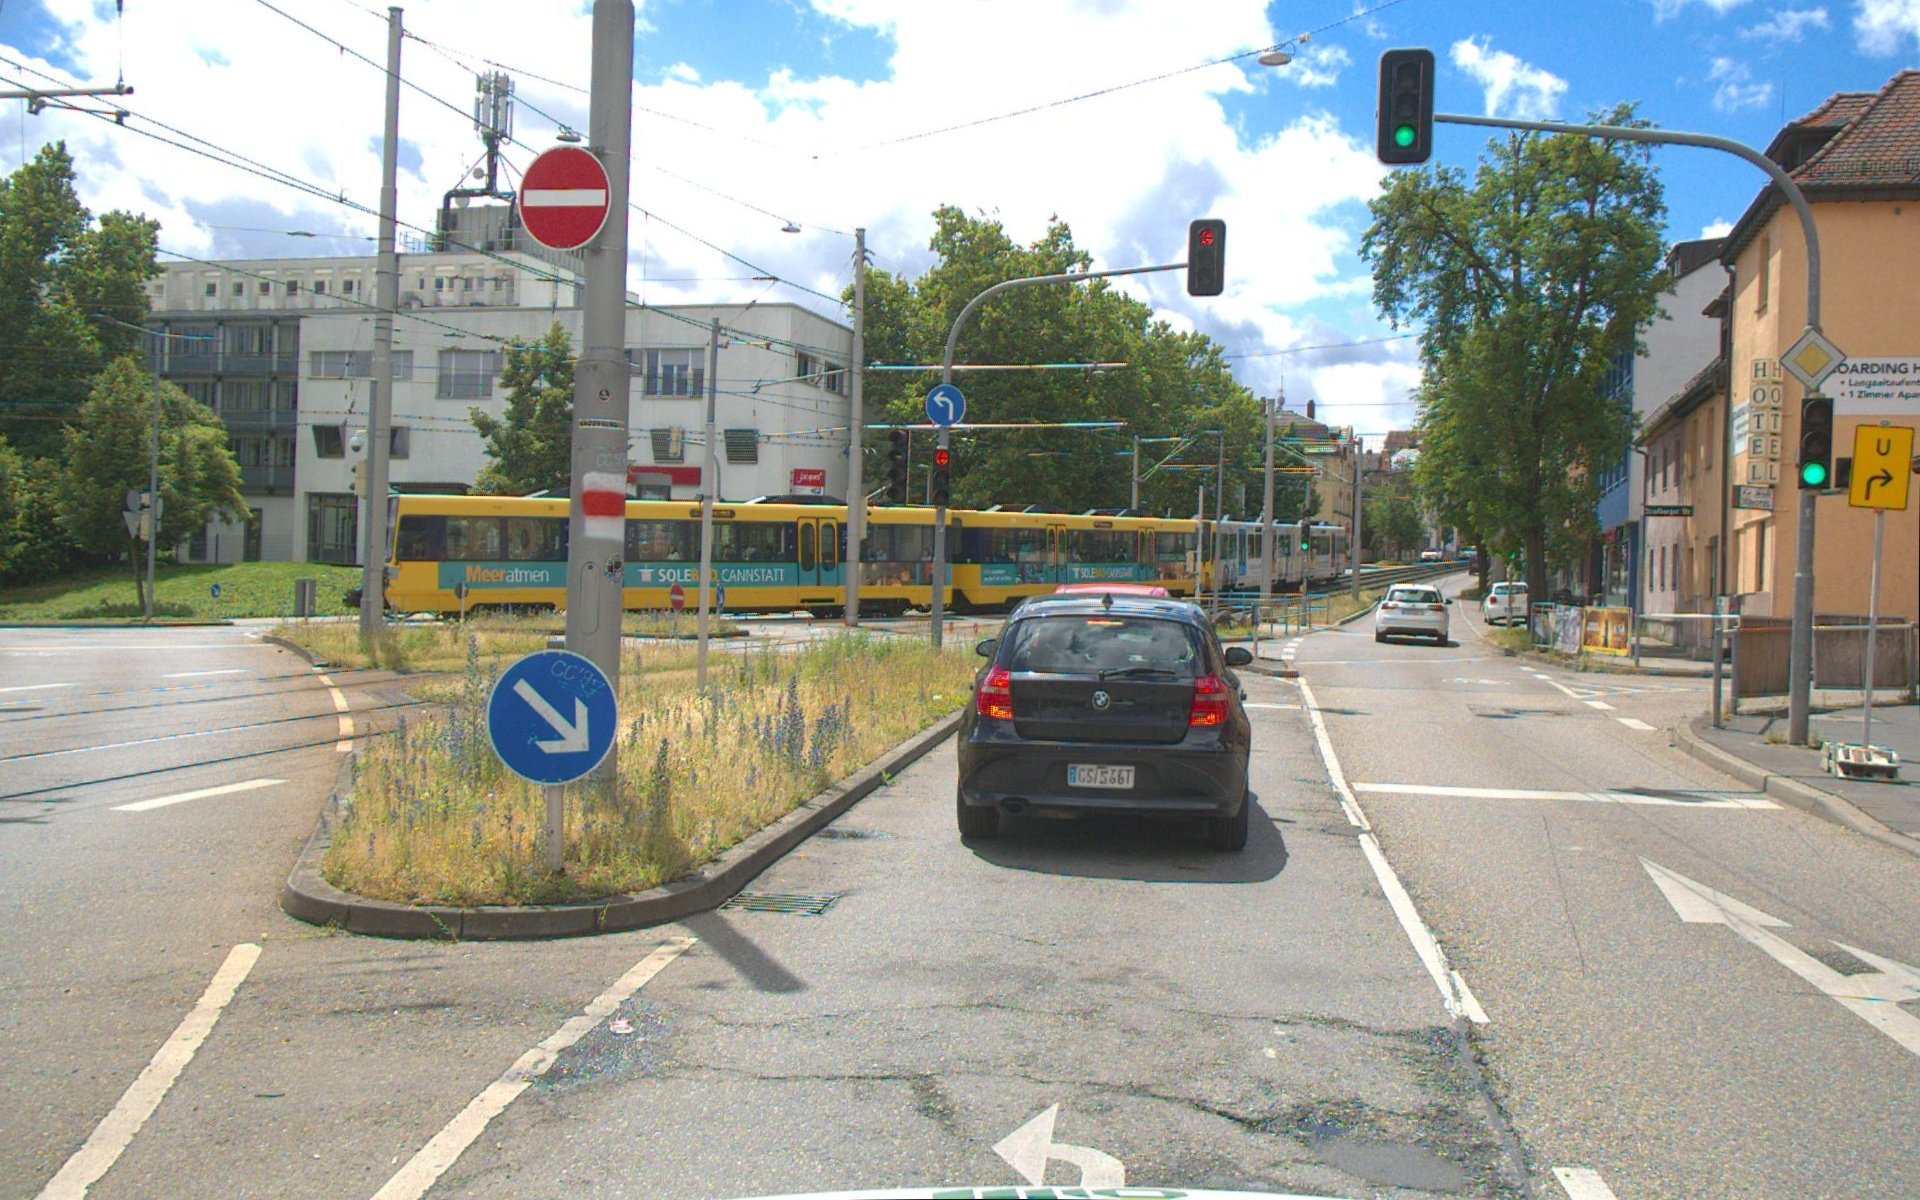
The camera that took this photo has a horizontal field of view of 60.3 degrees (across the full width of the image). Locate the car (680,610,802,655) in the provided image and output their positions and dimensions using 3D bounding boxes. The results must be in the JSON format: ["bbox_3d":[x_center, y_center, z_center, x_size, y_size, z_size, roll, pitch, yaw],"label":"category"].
[{"bbox_3d":[-8.036,1.176,60.850,4.130,1.613,1.832,0,0,-40],"label":"car"}]

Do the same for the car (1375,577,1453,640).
[{"bbox_3d":[11.751,0.191,42.965,1.776,1.494,4.003,2,1,14],"label":"car"}]

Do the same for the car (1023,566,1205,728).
[{"bbox_3d":[1.717,0.444,17.399,1.590,1.499,4.003,0,0,10],"label":"car"}]

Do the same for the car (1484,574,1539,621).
[{"bbox_3d":[19.708,-0.082,59.185,1.749,1.624,4.002,0,0,17],"label":"car"}]

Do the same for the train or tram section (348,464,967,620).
[{"bbox_3d":[-8.283,-1.438,49.572,18.694,3.987,3.712,0,0,-37],"label":"train or tram section"}]

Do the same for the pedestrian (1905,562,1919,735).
[{"bbox_3d":[9.692,0.474,16.013,0.748,1.671,0.778,0,1,15],"label":"pedestrian"}]

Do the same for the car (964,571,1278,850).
[{"bbox_3d":[0.903,0.597,10.799,1.666,1.477,4.001,0,0,1],"label":"car"}]

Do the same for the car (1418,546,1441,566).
[{"bbox_3d":[53.765,-5.024,189.466,1.954,2.049,3.997,0,0,25],"label":"car"}]

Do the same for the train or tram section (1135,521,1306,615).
[{"bbox_3d":[13.109,-1.304,80.398,3.673,3.947,20.632,0,0,22],"label":"train or tram section"}]

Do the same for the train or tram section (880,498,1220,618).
[{"bbox_3d":[4.224,-1.322,63.153,3.682,3.896,20.095,0,0,32],"label":"train or tram section"}]

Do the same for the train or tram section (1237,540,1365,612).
[{"bbox_3d":[20.695,-1.249,98.776,3.673,3.881,20.045,0,0,23],"label":"train or tram section"}]

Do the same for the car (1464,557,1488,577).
[{"bbox_3d":[41.870,-2.687,134.162,1.777,1.494,4.002,3,2,18],"label":"car"}]
